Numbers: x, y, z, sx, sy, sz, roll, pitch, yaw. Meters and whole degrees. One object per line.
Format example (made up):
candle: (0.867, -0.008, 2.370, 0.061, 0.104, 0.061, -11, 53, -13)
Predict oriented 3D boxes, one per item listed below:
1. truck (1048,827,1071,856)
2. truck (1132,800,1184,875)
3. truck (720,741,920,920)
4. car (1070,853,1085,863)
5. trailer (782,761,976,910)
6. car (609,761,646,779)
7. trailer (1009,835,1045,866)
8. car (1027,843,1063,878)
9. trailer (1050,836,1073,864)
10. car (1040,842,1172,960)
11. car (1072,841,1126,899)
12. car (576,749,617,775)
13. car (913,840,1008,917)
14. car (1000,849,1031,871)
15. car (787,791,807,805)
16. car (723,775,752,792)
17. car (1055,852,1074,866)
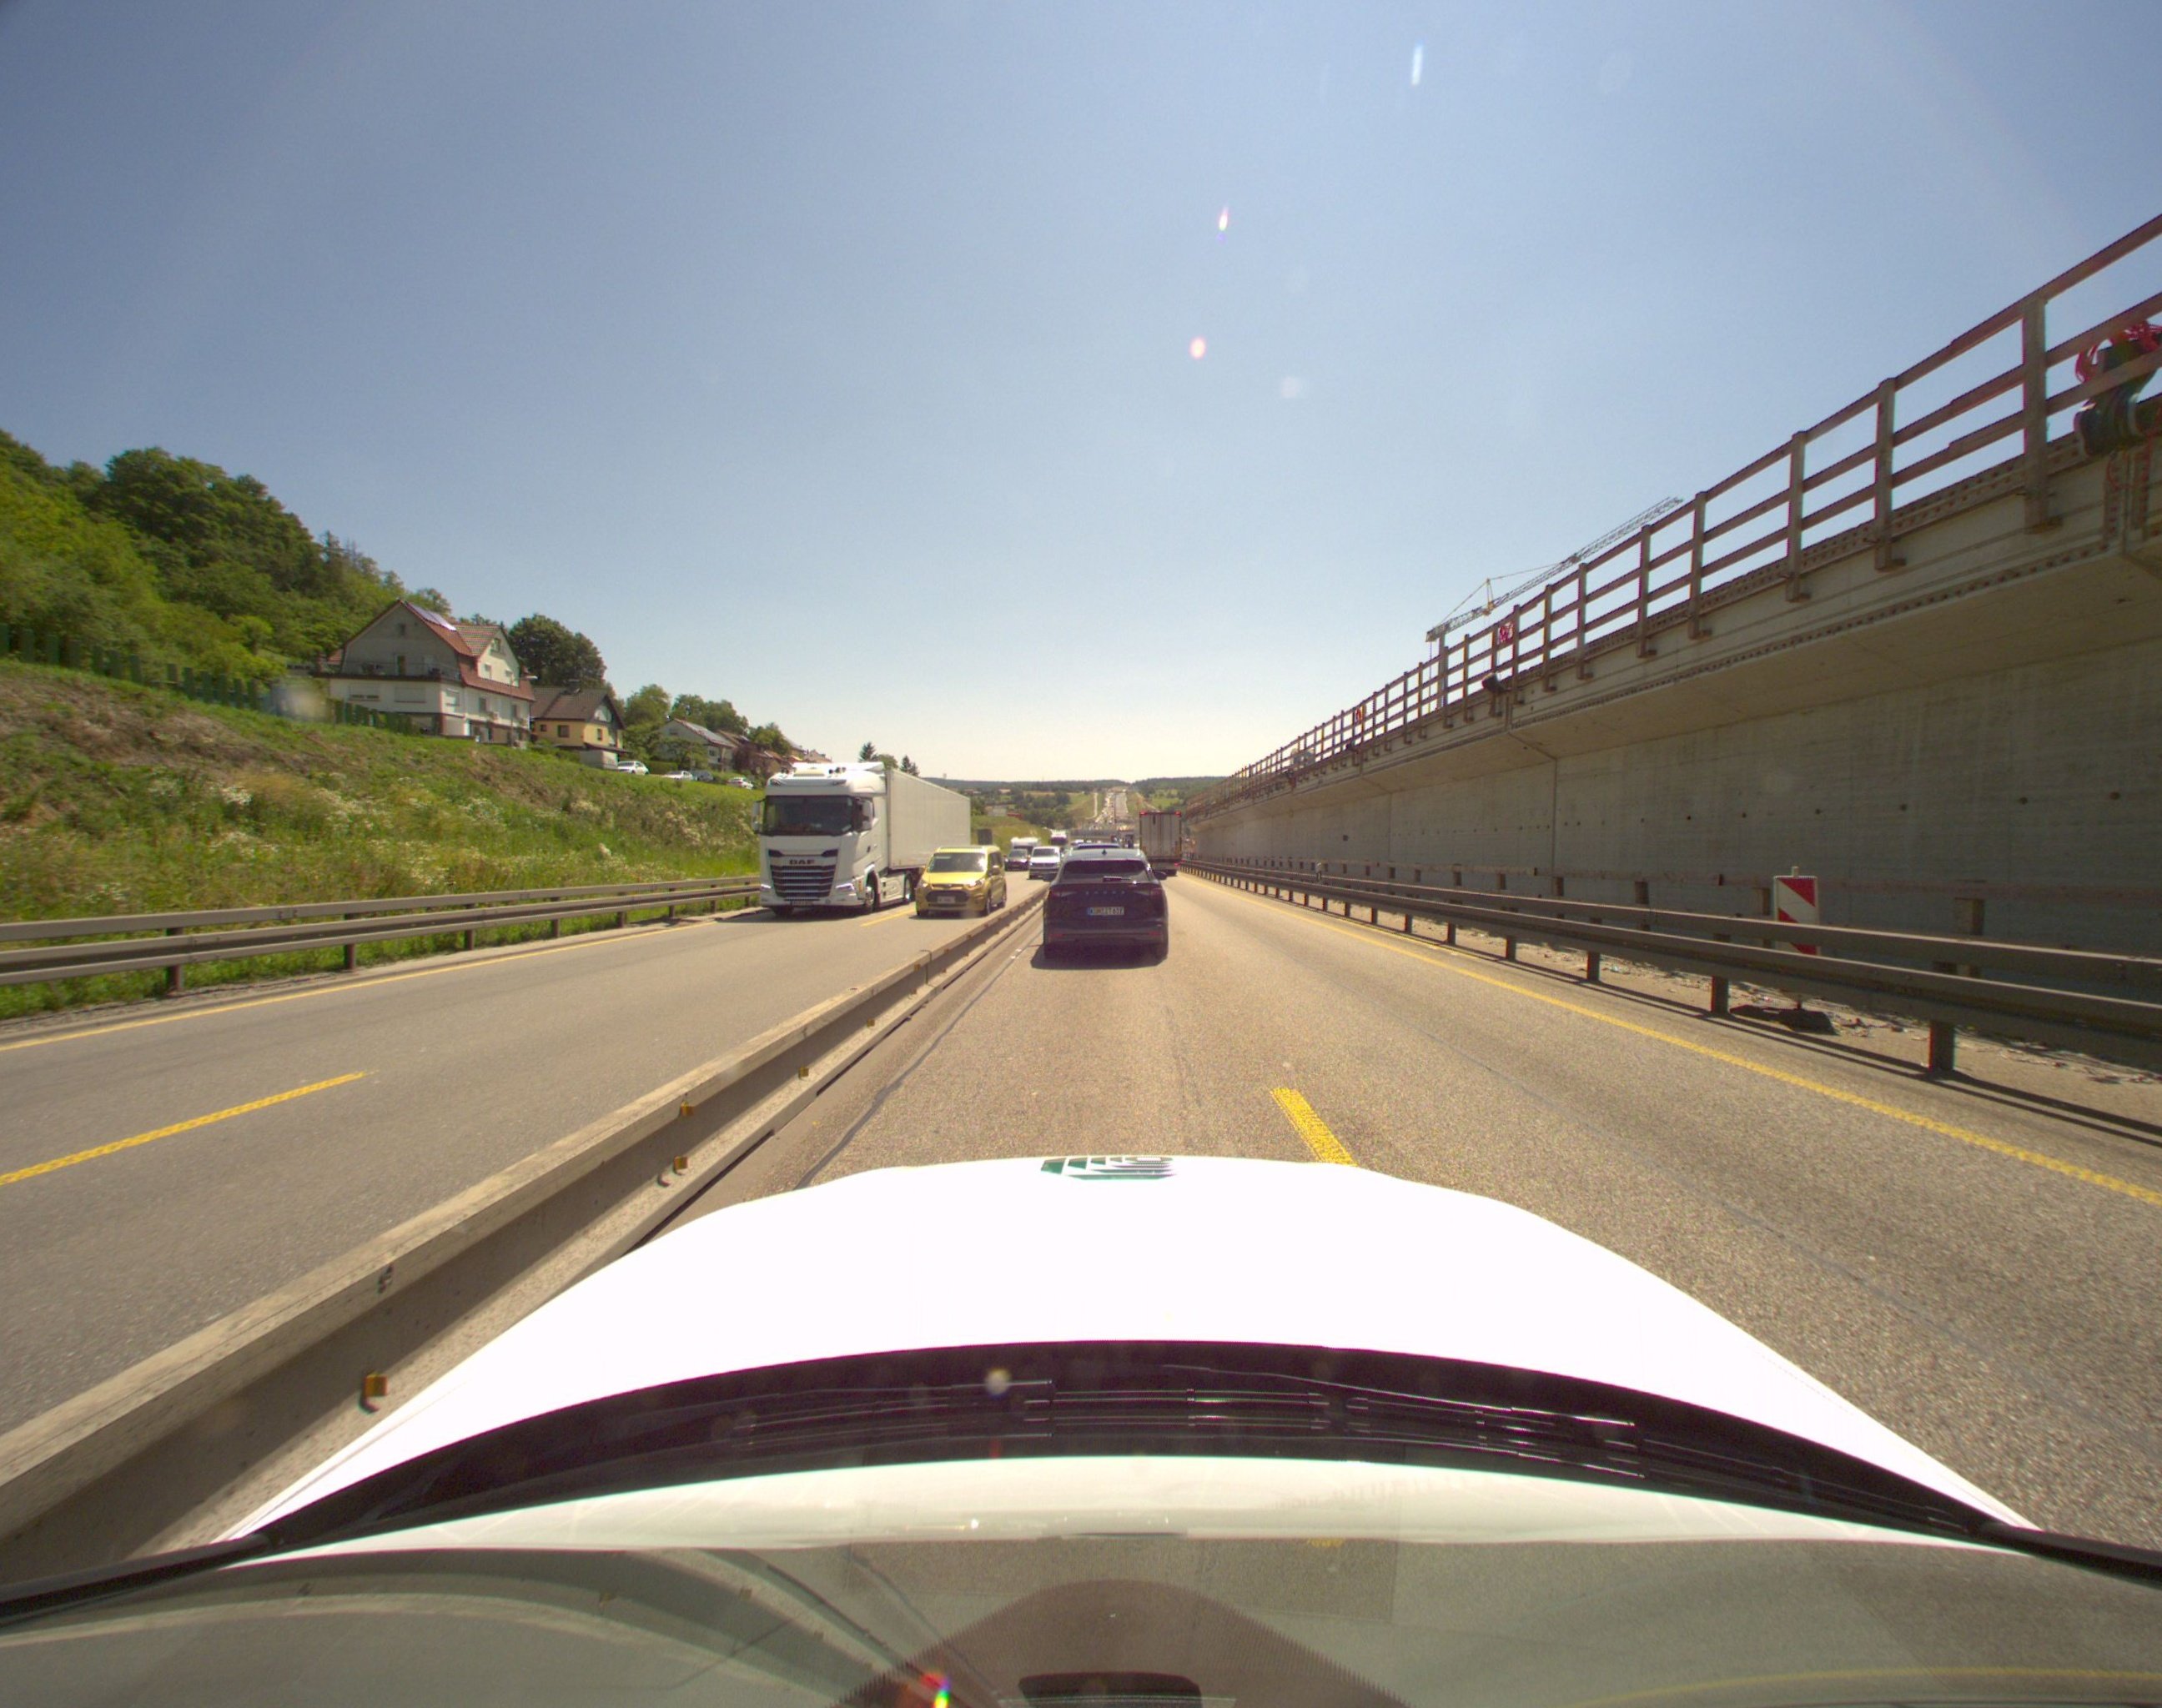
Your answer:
truck: (-3.340, -1.930, 128.649, 2.742, 4.227, 8.103, 3, -1, 2)
truck: (5.120, -0.919, 56.009, 2.835, 4.615, 11.815, 1, -1, 2)
truck: (-6.843, -0.520, 22.599, 3.168, 4.238, 6.488, 0, -1, 2)
car: (-0.479, 0.537, 105.486, 1.764, 1.288, 4.002, 0, -1, 2)
trailer: (-6.558, -0.522, 29.632, 3.208, 4.158, 13.415, 0, 0, 2)
car: (-35.454, -6.571, 63.706, 1.278, 1.039, 3.270, 0, 0, -4)
trailer: (-4.783, -0.281, 73.069, 2.475, 2.613, 5.870, -1, -1, 2)
car: (-2.121, 0.413, 49.485, 1.856, 2.014, 4.806, 0, -1, 1)
trailer: (-3.145, -0.540, 135.334, 2.749, 4.273, 14.639, 3, -1, 2)
car: (0.354, 0.646, 12.915, 1.777, 1.597, 3.755, 0, 0, 0)
car: (0.581, 0.558, 29.349, 1.744, 1.895, 3.753, 2, 0, -1)
car: (-35.202, -6.652, 59.221, 1.732, 1.398, 3.778, 2, 0, -18)
car: (-3.061, 0.586, 21.591, 1.769, 1.820, 4.435, 0, 0, 1)
car: (-5.174, 0.479, 65.001, 1.869, 1.712, 4.650, 0, 0, 2)
car: (-38.479, -7.571, 110.432, 1.924, 1.728, 3.988, 0, 0, -9)
car: (-38.255, -7.828, 90.805, 1.993, 1.320, 3.987, 4, -1, -9)
car: (-1.733, 0.573, 86.243, 1.696, 1.441, 4.002, -1, -1, 2)
